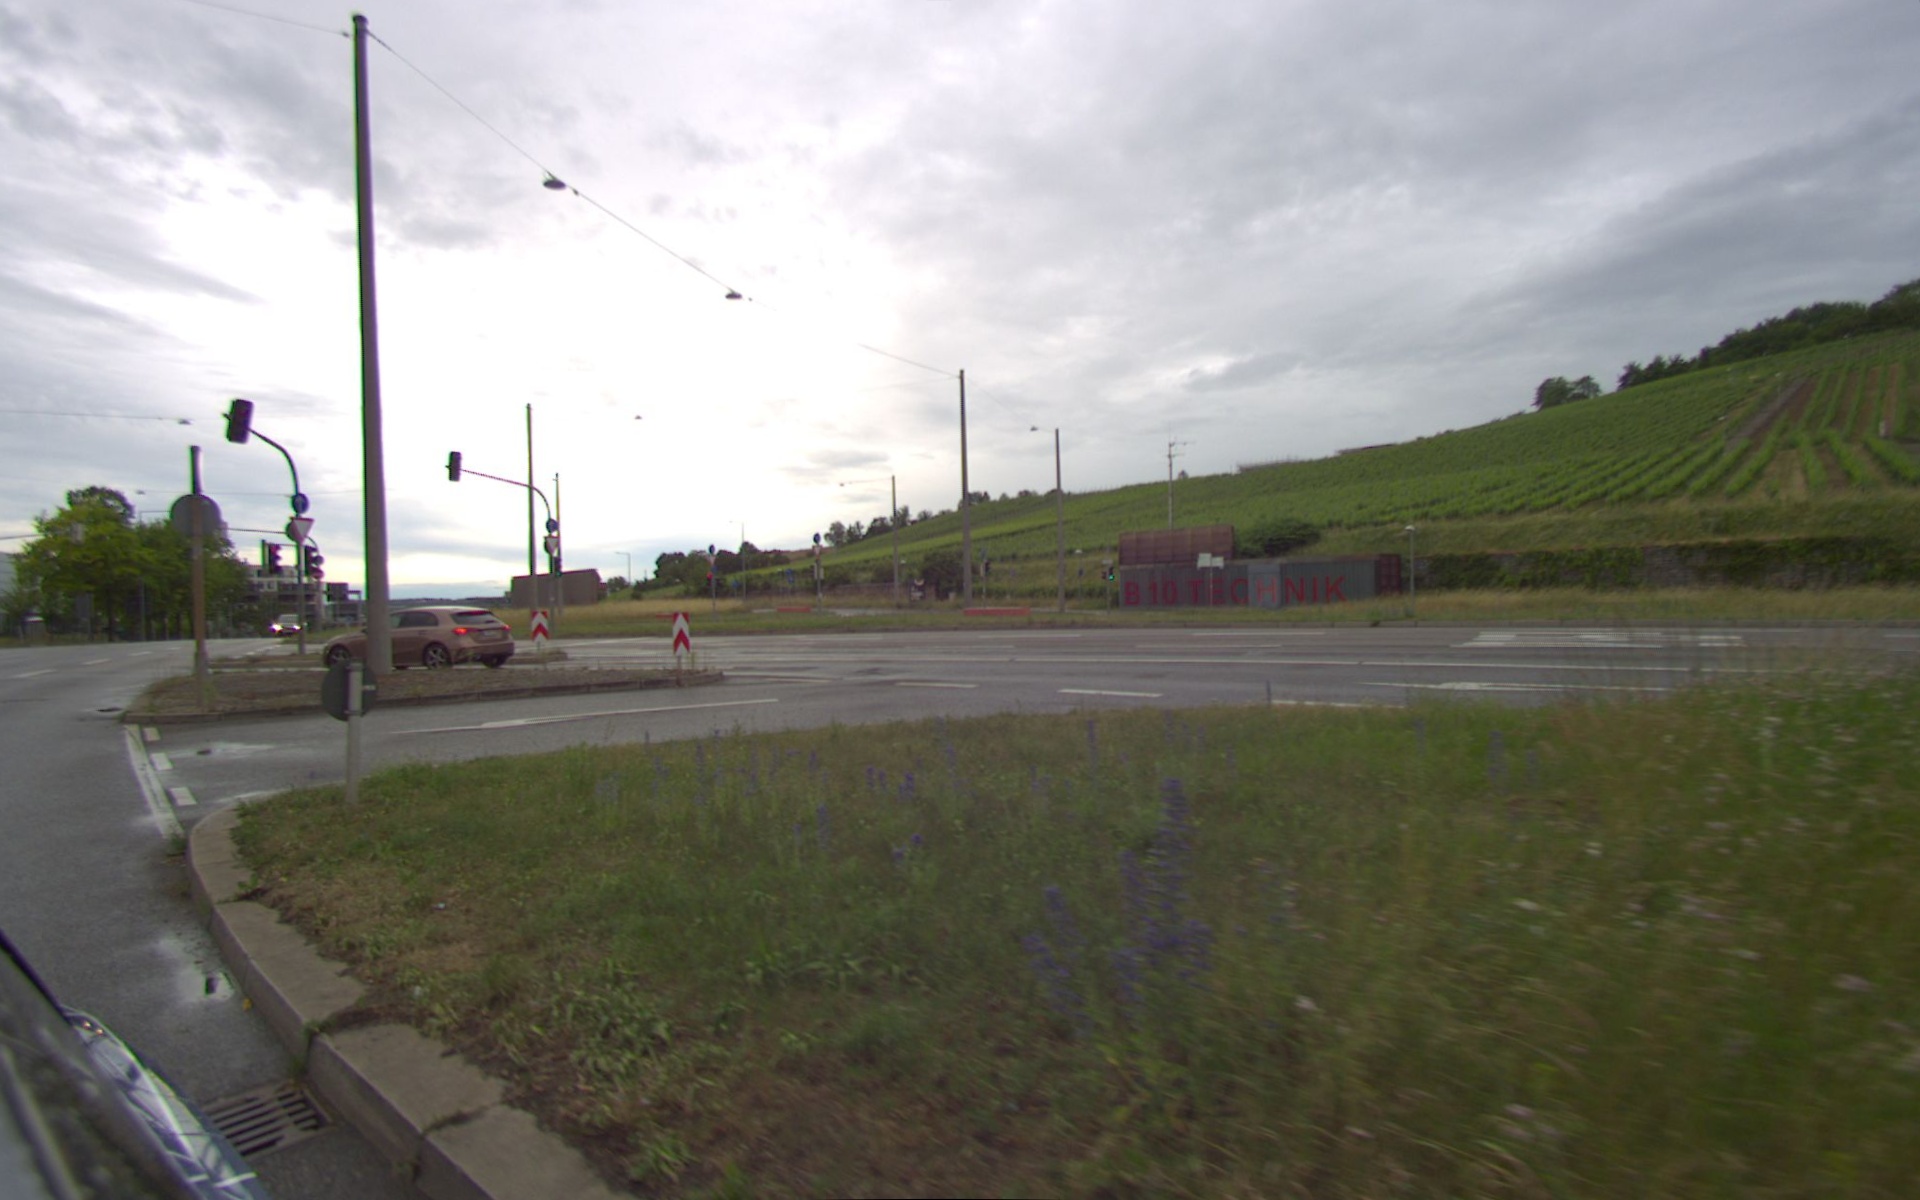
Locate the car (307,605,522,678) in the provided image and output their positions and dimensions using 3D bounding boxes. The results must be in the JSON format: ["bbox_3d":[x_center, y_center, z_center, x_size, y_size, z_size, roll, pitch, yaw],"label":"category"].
[{"bbox_3d":[-12.146,0.926,22.580,4.305,1.473,1.729,-2,1,18],"label":"car"}]

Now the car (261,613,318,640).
[{"bbox_3d":[-42.366,1.655,64.032,1.767,1.600,3.916,-1,0,-14],"label":"car"}]
